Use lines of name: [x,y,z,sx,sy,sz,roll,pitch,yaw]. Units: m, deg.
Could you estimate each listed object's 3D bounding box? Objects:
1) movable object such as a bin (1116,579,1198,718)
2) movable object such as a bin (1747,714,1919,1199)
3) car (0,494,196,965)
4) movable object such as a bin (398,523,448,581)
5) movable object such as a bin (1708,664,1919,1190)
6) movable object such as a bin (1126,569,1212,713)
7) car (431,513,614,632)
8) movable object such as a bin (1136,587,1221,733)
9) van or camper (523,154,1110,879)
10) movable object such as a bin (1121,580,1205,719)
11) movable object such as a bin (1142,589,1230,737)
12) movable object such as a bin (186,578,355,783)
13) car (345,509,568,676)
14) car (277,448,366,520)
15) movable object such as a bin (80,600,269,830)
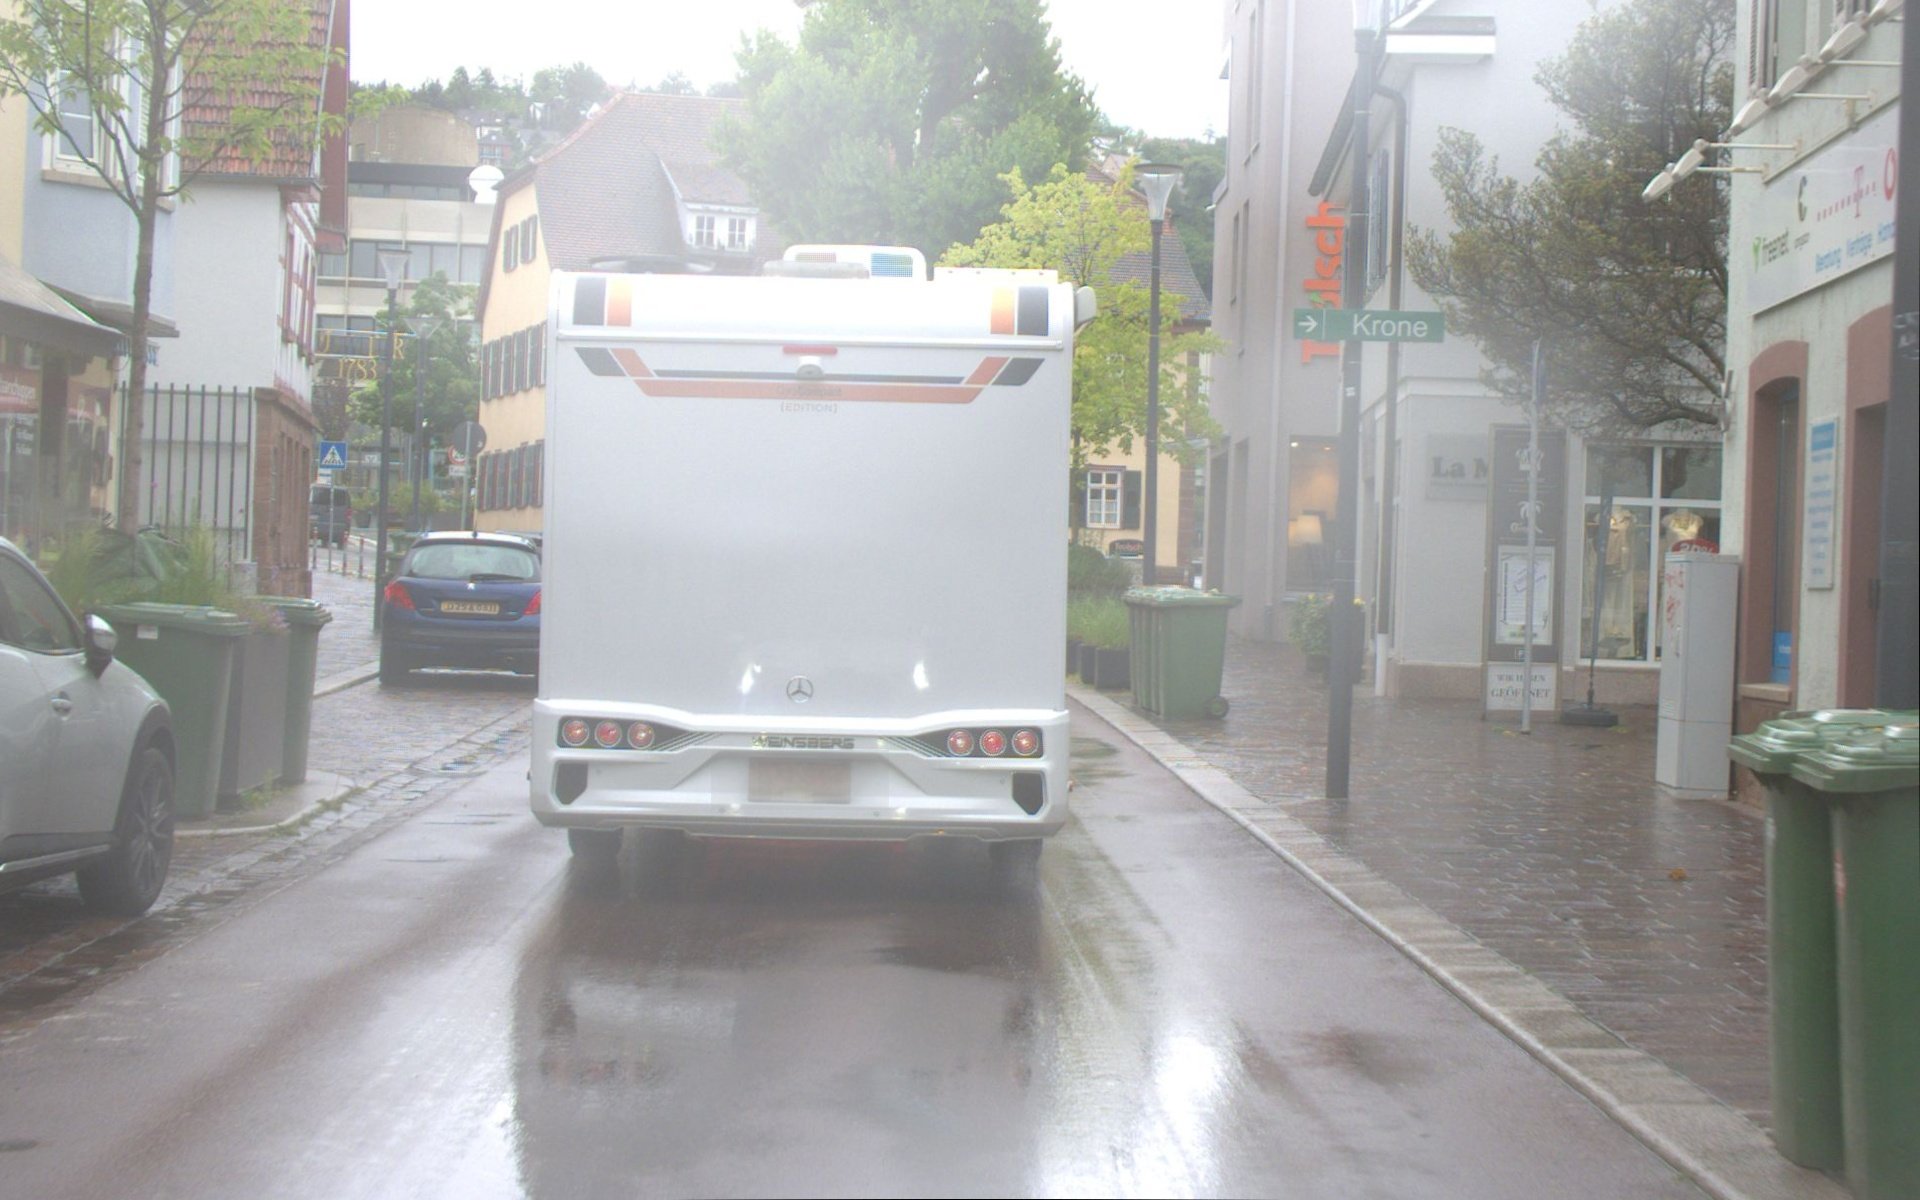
movable object such as a bin: [1.811,0.444,31.679,0.678,1.246,0.565,2,0,-2]
movable object such as a bin: [2.192,0.872,7.665,0.718,1.197,0.573,2,0,1]
car: [-4.089,0.407,12.235,1.827,1.561,4.000,2,0,0]
movable object such as a bin: [-10.014,-0.899,64.115,0.818,1.047,0.700,2,0,-16]
movable object such as a bin: [2.231,0.767,8.253,0.718,1.197,0.578,2,0,1]
movable object such as a bin: [1.852,0.358,30.540,0.678,1.252,0.543,2,0,-2]
car: [-6.286,-0.421,49.006,1.993,1.489,4.002,3,1,-15]
movable object such as a bin: [1.904,0.518,29.986,0.658,1.241,0.543,2,0,-2]
van or camper: [-0.799,-0.342,17.292,2.325,2.909,6.394,2,0,-4]
movable object such as a bin: [1.834,0.446,31.104,0.678,1.228,0.565,2,0,-2]
movable object such as a bin: [1.930,0.531,29.400,0.658,1.234,0.621,2,0,-2]
movable object such as a bin: [-3.973,0.459,19.847,0.815,1.102,0.610,5,0,-6]
car: [-4.911,-0.115,33.951,1.993,1.467,4.001,3,1,-7]
car: [-19.365,-3.498,104.149,1.993,2.007,4.001,2,0,-19]
movable object such as a bin: [-3.907,0.565,17.139,0.814,1.102,0.610,2,0,-6]
